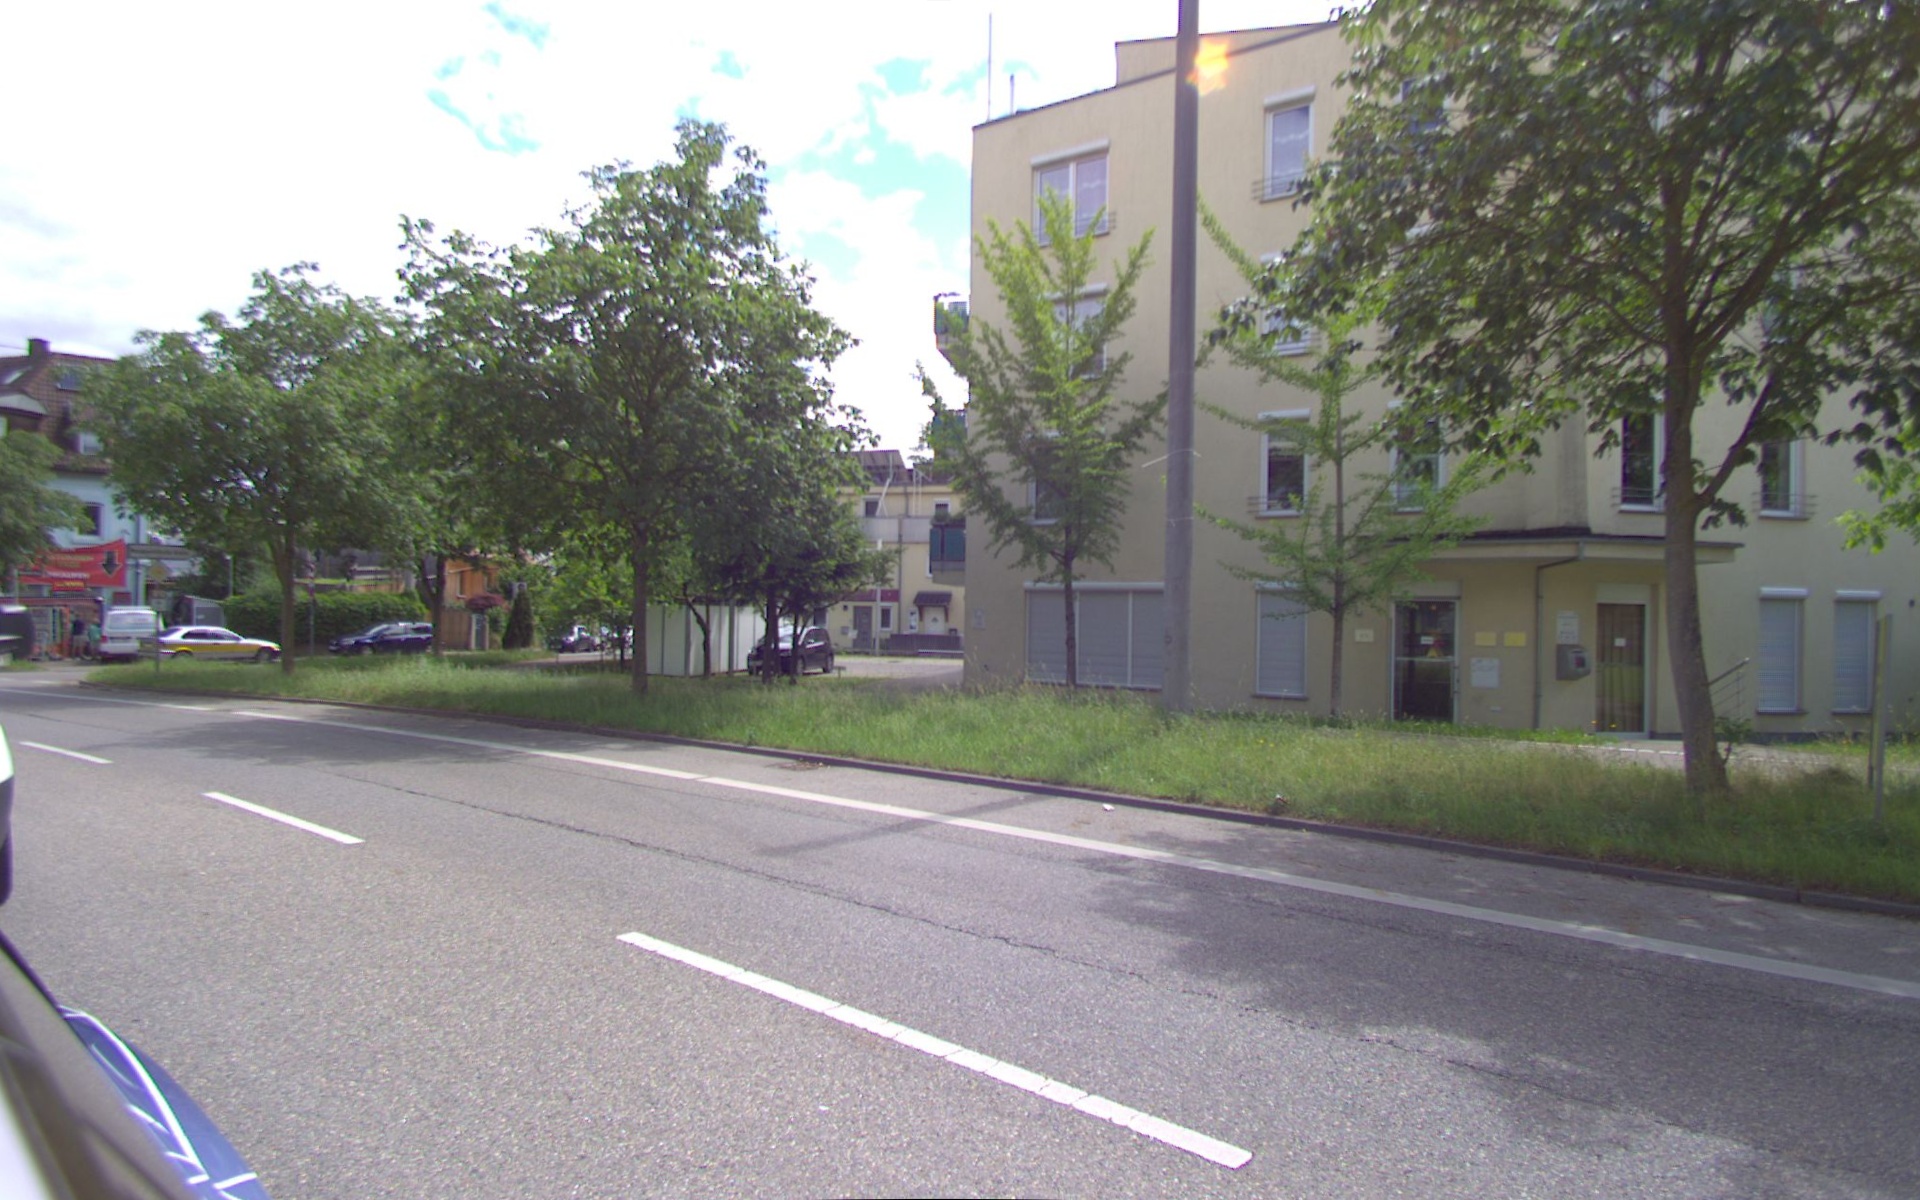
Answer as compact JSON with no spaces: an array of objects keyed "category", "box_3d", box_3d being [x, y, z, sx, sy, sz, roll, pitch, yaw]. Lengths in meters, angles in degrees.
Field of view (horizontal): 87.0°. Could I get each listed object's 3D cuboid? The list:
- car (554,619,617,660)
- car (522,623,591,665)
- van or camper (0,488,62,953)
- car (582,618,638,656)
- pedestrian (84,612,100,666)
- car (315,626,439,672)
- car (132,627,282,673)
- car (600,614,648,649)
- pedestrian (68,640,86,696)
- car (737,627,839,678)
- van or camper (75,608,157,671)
[{"category":"car","box_3d":[-20.502,2.147,55.611,1.972,2.029,4.000,-1,1,0]},{"category":"car","box_3d":[-20.450,2.192,51.474,1.953,2.029,4.000,0,-1,-1]},{"category":"van or camper","box_3d":[-6.660,0.548,5.438,5.098,2.029,2.001,-1,-2,40]},{"category":"car","box_3d":[-20.647,2.164,59.876,1.971,2.029,4.002,-1,1,-2]},{"category":"pedestrian","box_3d":[-32.763,1.452,38.192,0.443,2.005,0.378,0,1,40]},{"category":"car","box_3d":[-23.077,1.883,40.182,1.715,1.695,3.929,0,-1,36]},{"category":"car","box_3d":[-26.520,1.731,35.801,1.528,1.332,4.009,0,1,27]},{"category":"car","box_3d":[-21.385,1.952,64.496,1.870,2.029,4.003,-1,1,-3]},{"category":"pedestrian","box_3d":[-33.031,2.533,37.867,0.363,2.029,0.419,0,1,42]},{"category":"car","box_3d":[-5.117,1.611,30.636,1.774,1.431,3.986,-1,-3,11]},{"category":"van or camper","box_3d":[-30.903,1.393,37.030,3.811,2.104,1.770,0,1,42]}]
